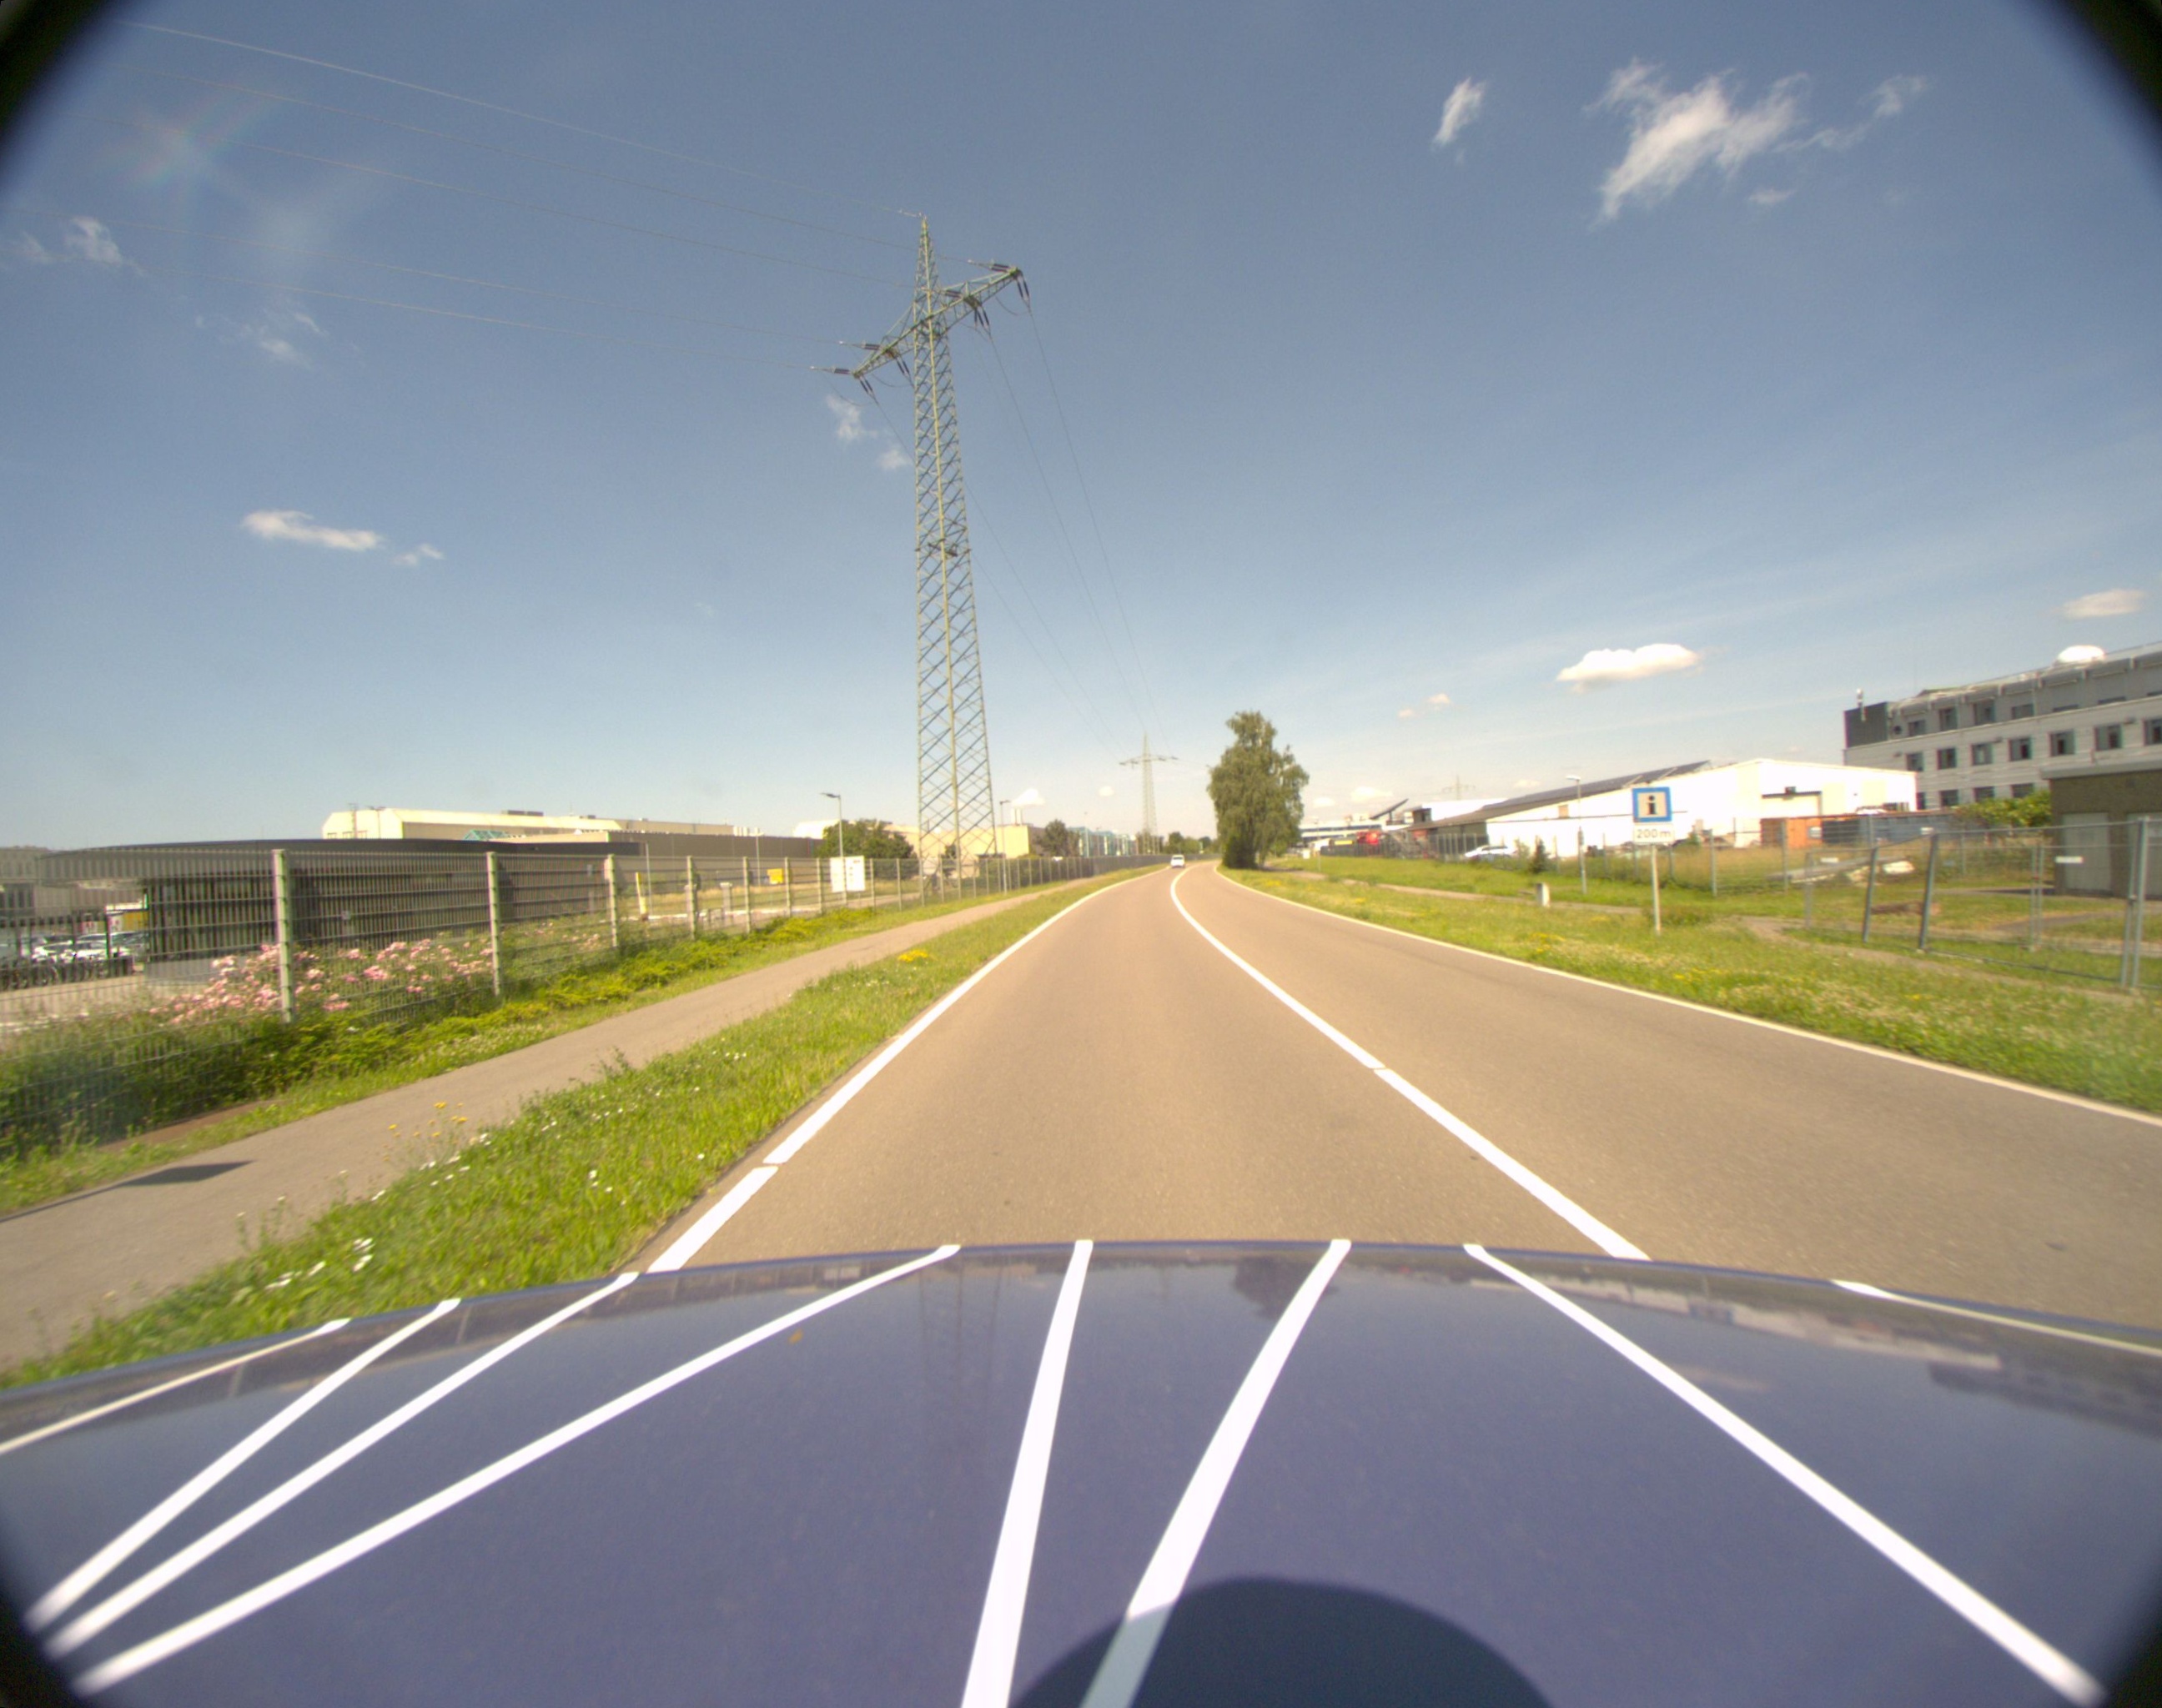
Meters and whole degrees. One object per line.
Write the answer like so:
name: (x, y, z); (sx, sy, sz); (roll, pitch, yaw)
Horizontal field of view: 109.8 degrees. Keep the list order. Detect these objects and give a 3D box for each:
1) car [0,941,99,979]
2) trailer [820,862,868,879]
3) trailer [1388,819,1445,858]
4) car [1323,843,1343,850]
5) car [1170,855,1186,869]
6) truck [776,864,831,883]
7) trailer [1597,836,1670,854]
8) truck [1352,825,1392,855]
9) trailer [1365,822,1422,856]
car: (-50.502, 5.186, 37.216); (3.054, 1.525, 1.472); (-3, 0, 5)
trailer: (-44.638, 3.014, 143.618); (1.997, 2.697, 14.108); (-2, 0, 12)
trailer: (33.880, -1.541, 77.065); (3.405, 3.624, 8.665); (-2, 1, 11)
car: (62.405, -1.747, 188.210); (4.217, 1.591, 1.872); (-2, 1, 9)
car: (14.054, 1.142, 109.875); (1.835, 1.796, 4.833); (-2, 0, 11)
truck: (-47.290, 3.197, 130.044); (1.997, 2.697, 13.748); (-2, 0, 11)
trailer: (42.000, -0.661, 57.849); (3.994, 1.159, 1.906); (-2, 0, 11)
truck: (38.579, -1.865, 101.145); (3.106, 3.624, 10.602); (-2, 0, 11)
trailer: (36.151, -1.697, 88.626); (3.296, 3.624, 14.936); (-2, 0, 11)
